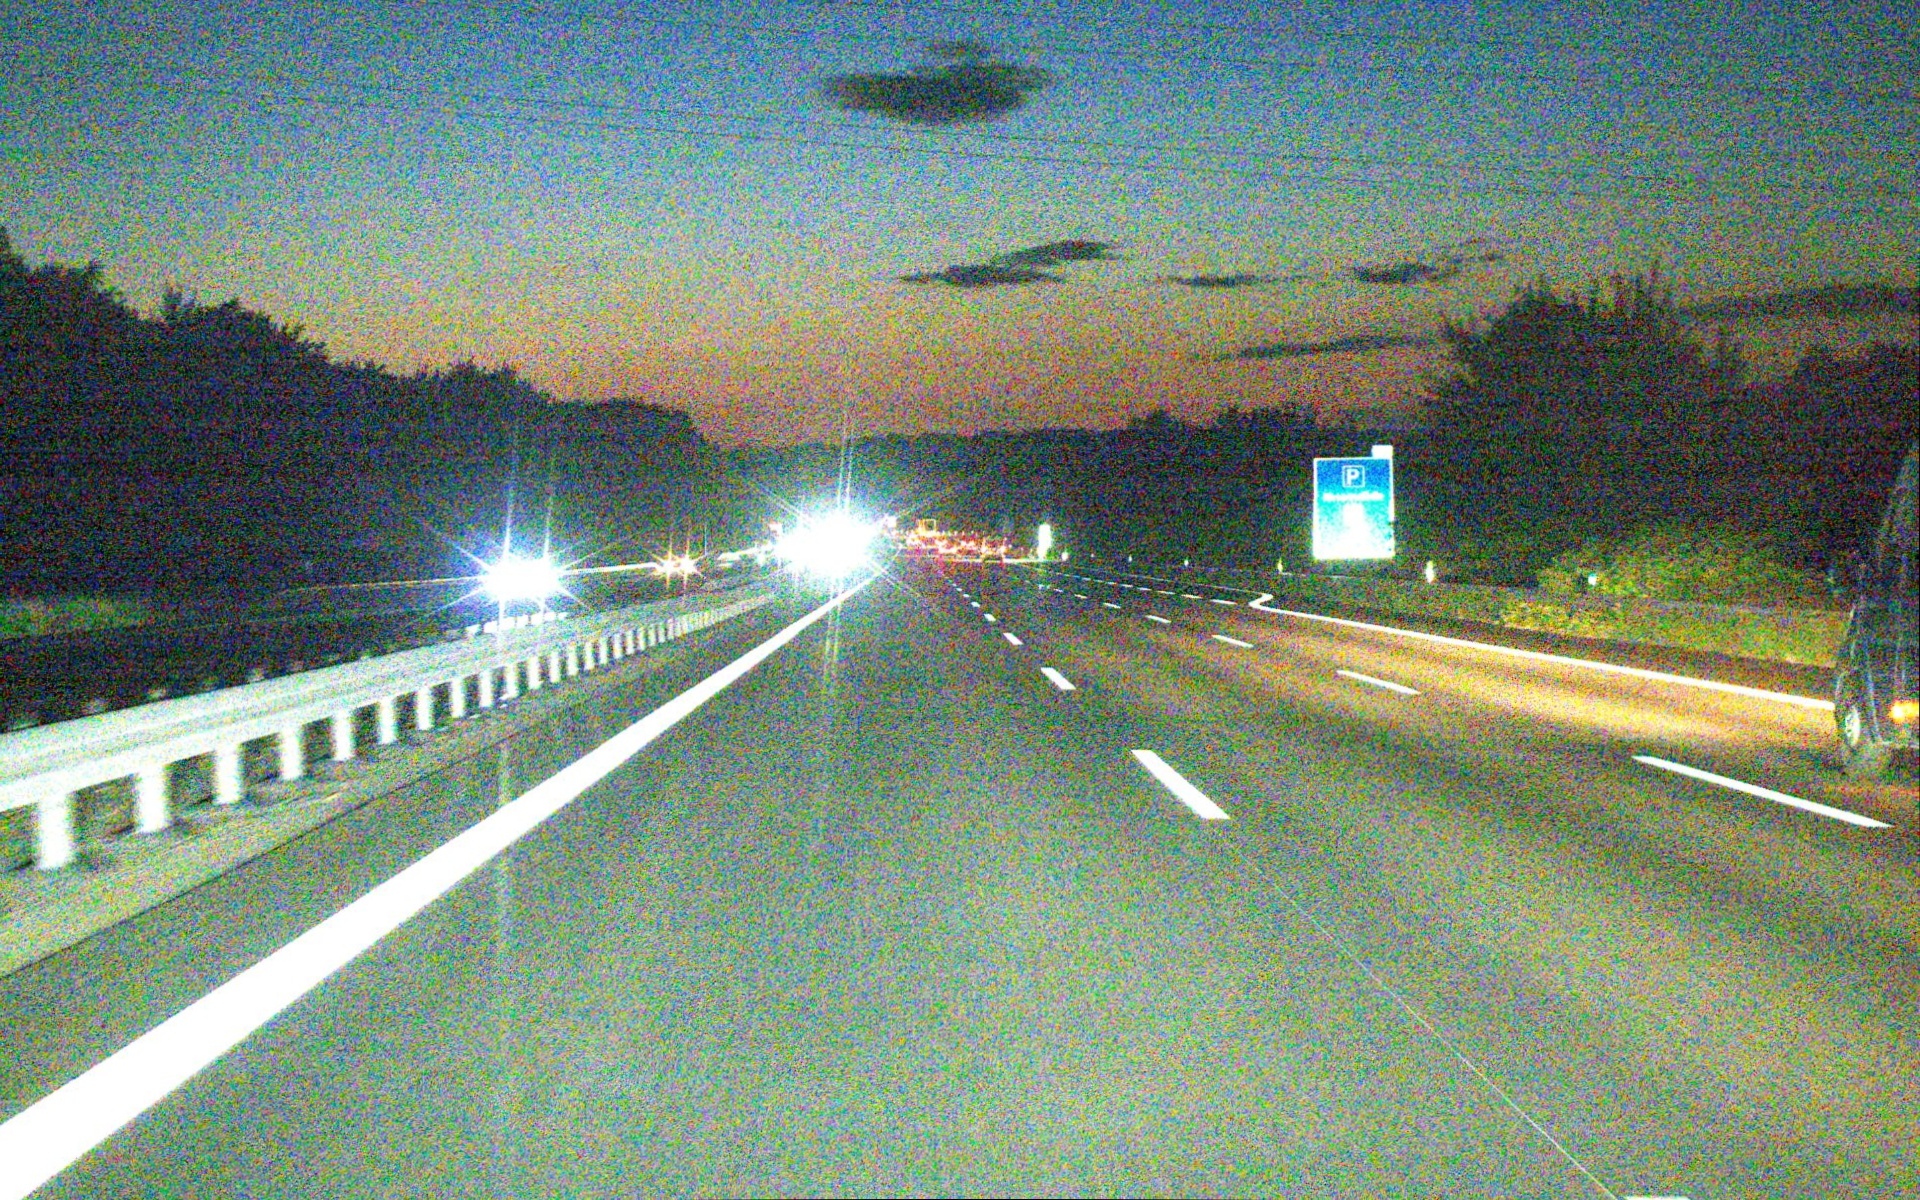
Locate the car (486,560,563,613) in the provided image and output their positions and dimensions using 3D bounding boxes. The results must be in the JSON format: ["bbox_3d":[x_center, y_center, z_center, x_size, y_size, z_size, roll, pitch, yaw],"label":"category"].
[{"bbox_3d":[-15.112,-0.463,119.597,1.993,1.632,5.075,5,0,-1],"label":"car"}]

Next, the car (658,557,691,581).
[{"bbox_3d":[-20.680,-2.246,248.975,1.993,1.546,5.005,-4,1,-1],"label":"car"}]

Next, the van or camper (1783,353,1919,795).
[{"bbox_3d":[7.115,-0.144,21.225,2.207,2.762,6.805,1,1,-2],"label":"van or camper"}]
